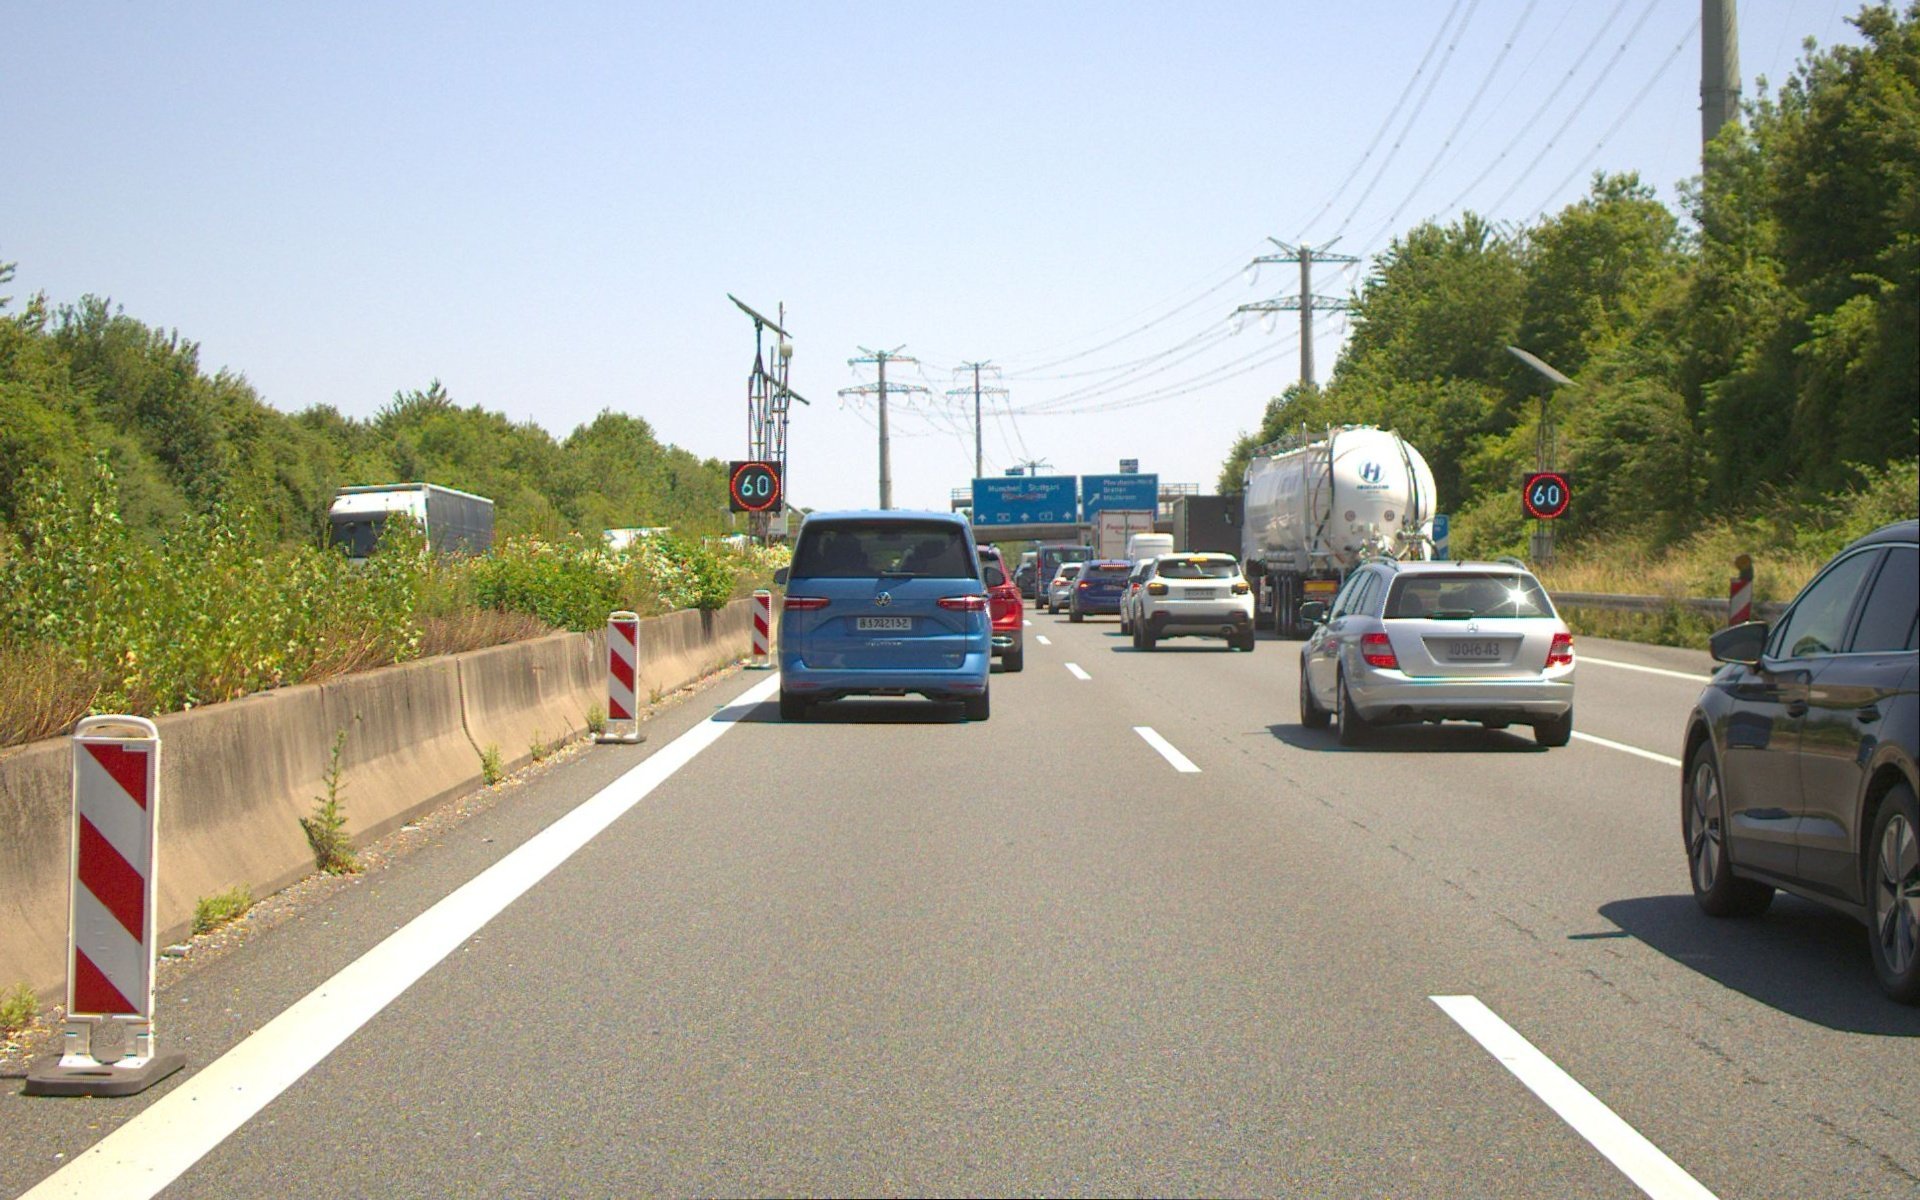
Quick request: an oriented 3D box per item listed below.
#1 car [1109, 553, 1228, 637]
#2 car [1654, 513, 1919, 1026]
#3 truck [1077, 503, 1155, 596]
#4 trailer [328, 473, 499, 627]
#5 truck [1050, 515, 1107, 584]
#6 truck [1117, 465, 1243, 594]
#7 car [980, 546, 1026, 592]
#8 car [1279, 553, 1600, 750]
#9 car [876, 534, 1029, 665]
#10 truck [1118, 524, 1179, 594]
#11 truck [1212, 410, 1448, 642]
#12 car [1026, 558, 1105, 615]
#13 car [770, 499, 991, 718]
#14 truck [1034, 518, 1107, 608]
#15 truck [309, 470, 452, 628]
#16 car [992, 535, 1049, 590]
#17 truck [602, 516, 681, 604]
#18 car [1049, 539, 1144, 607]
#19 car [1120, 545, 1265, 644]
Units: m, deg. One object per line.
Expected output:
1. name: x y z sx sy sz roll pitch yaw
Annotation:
1. car: 4.034 -0.118 67.094 1.908 1.564 4.384 1 1 -2
2. car: 3.905 0.510 12.423 1.828 1.609 4.431 0 1 -1
3. truck: 7.472 -2.418 166.642 2.938 4.276 12.552 1 1 -1
4. trailer: -16.292 -1.500 103.610 2.753 4.152 14.198 -3 1 0
5. truck: 7.567 -3.261 221.444 2.938 4.276 12.552 1 1 -1
6. truck: 6.390 -2.030 101.634 2.644 3.526 12.552 1 1 -1
7. car: 1.907 -1.385 153.372 1.993 2.007 4.000 1 1 0
8. car: 3.747 0.357 27.603 1.821 1.432 4.384 1 1 -2
9. car: -0.131 -0.032 45.024 1.908 1.625 4.384 0 1 -1
10. truck: 7.491 -1.637 136.941 1.993 2.714 5.680 1 1 -1
11. truck: 7.131 -1.397 68.896 2.644 4.058 16.442 1 1 -1
12. car: 2.893 -0.399 95.378 1.908 1.511 4.384 1 1 -2
13. car: -0.812 0.048 32.039 1.871 1.873 4.384 1 1 -3
14. truck: 3.429 -1.158 107.740 1.993 2.714 5.680 1 1 -1
15. truck: -16.265 -1.424 96.857 2.751 4.152 6.411 -3 1 0
16. car: 2.261 -1.414 130.297 1.993 2.007 4.000 1 1 -1
17. truck: -15.026 -1.907 162.790 2.762 3.875 9.030 -3 1 -1
18. car: 3.177 -0.645 80.977 1.908 1.511 4.384 1 1 -2
19. car: 3.668 -0.110 54.825 1.908 1.503 3.922 1 1 -2
